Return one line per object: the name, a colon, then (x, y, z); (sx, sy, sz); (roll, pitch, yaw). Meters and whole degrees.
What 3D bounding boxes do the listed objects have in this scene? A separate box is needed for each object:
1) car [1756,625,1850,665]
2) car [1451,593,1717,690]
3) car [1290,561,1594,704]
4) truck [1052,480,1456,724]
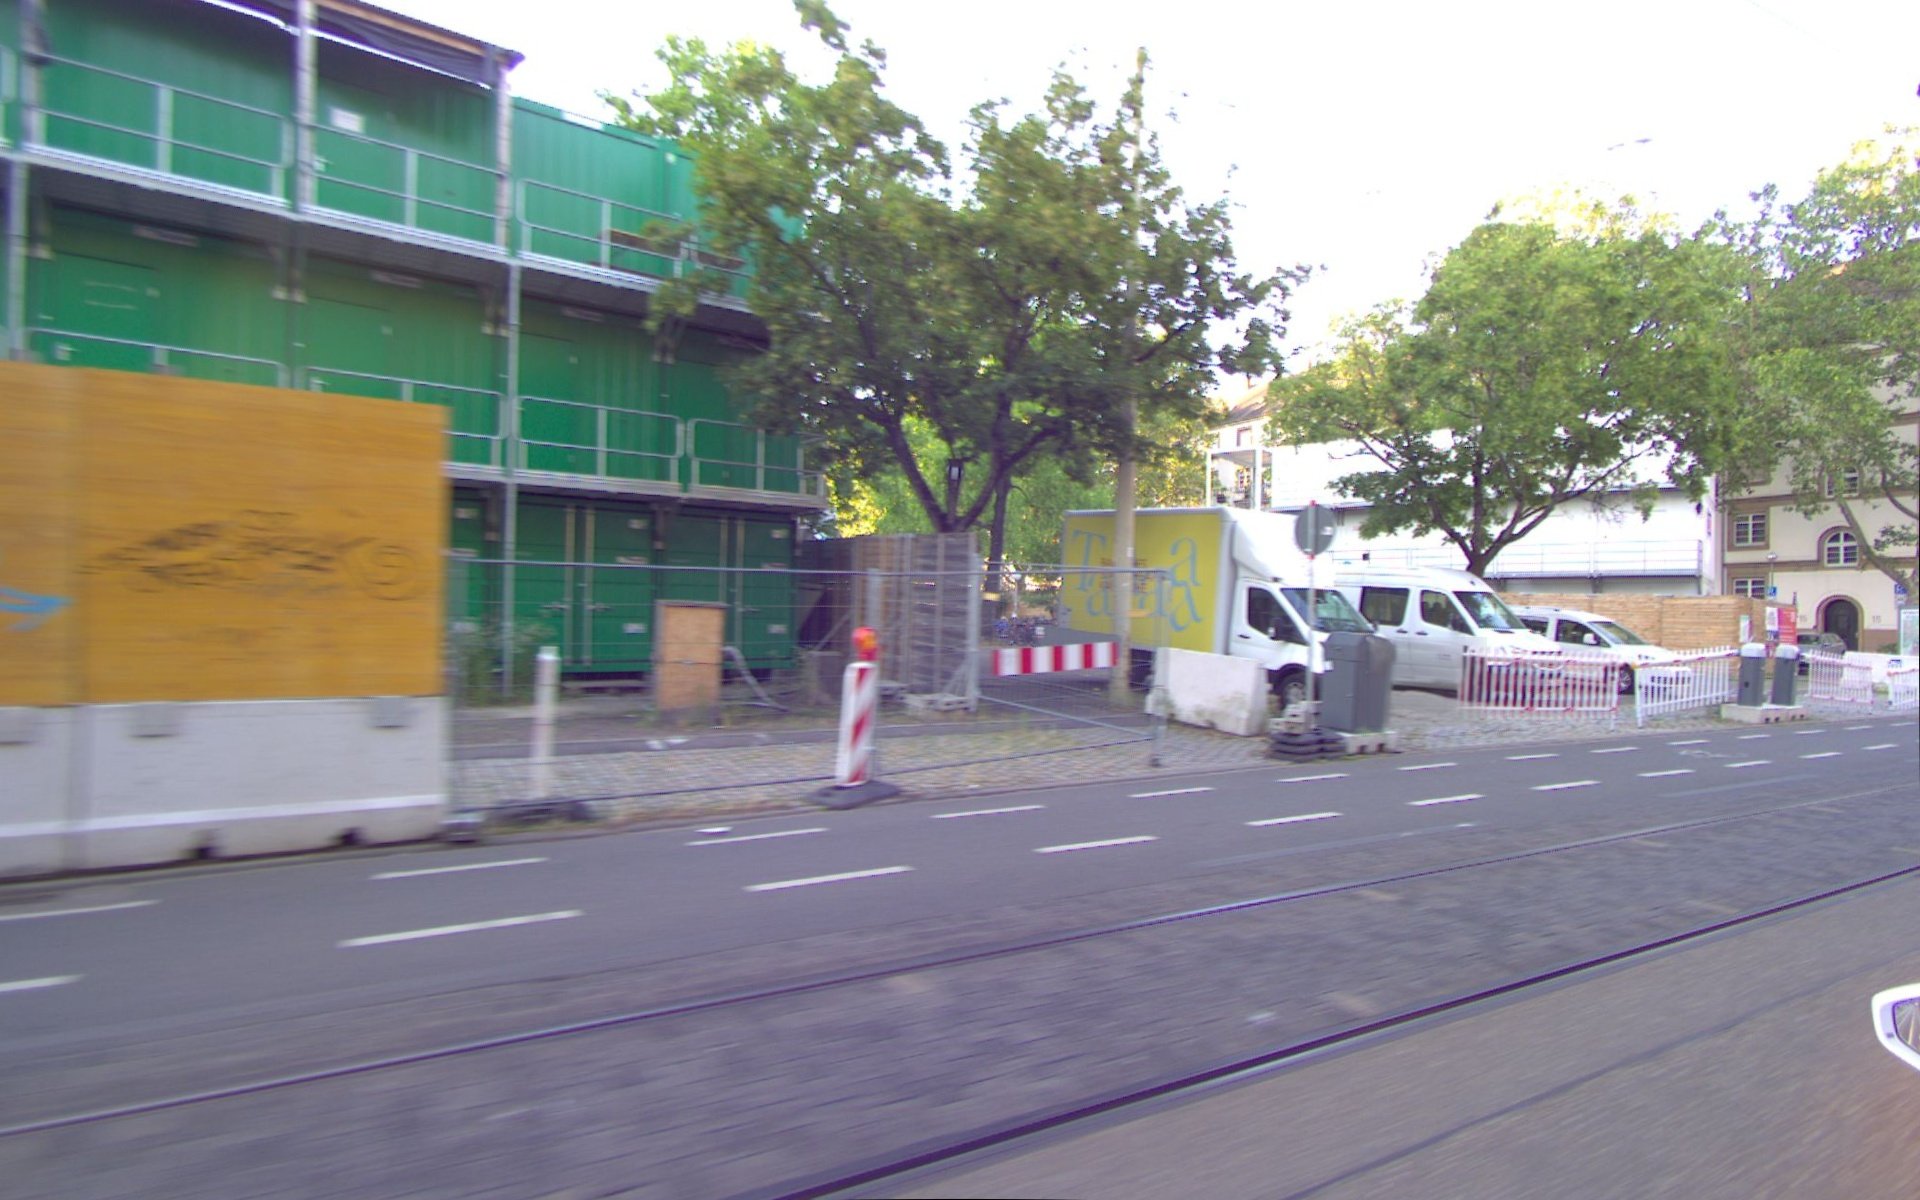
car: (36.757, 1.964, 43.766); (4.070, 1.661, 1.903); (2, -1, -30)
car: (14.758, 0.882, 24.143); (2.197, 1.971, 5.010); (1, 1, -25)
car: (9.861, 0.524, 21.077); (2.202, 2.593, 5.369); (1, 1, -32)
truck: (4.863, -0.062, 18.184); (2.514, 3.527, 7.015); (0, 2, -33)
